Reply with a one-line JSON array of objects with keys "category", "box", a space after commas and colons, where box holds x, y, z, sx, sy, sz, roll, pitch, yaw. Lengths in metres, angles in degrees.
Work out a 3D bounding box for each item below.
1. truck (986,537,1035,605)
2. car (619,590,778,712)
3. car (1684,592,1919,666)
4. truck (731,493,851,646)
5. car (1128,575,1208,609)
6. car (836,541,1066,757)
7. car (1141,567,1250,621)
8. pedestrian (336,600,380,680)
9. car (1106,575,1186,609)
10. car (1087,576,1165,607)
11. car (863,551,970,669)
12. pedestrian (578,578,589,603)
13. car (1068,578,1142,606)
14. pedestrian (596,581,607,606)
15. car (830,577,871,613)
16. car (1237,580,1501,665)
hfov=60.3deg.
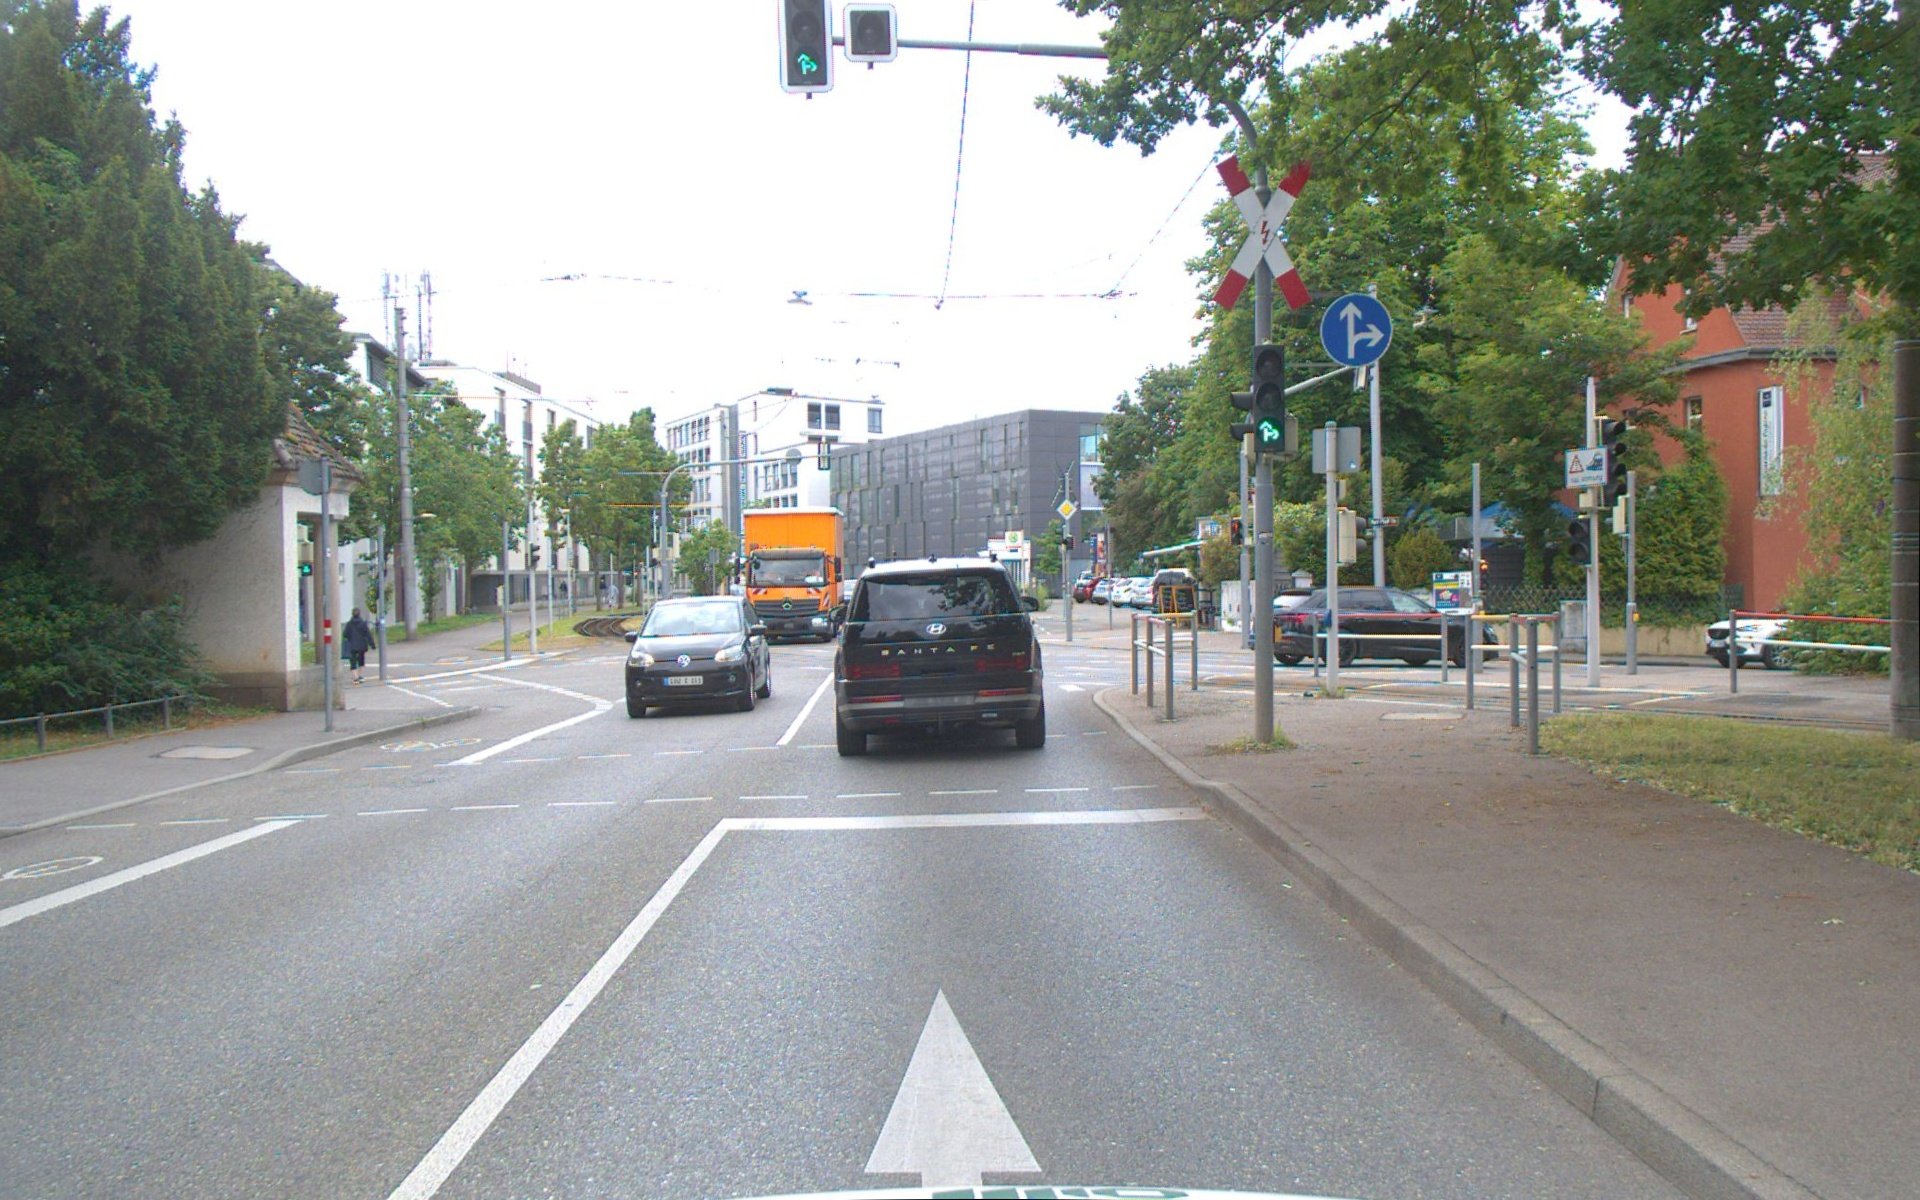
[{"category": "truck", "box": [2.773, -1.611, 92.727, 2.520, 3.586, 7.811, -1, 1, 0]}, {"category": "car", "box": [-3.430, 0.614, 22.287, 1.630, 1.474, 3.826, -1, 0, -2]}, {"category": "car", "box": [17.855, 0.591, 34.876, 4.424, 1.489, 1.994, 0, 0, -12]}, {"category": "truck", "box": [-4.626, -0.816, 46.837, 2.714, 3.783, 8.465, -3, 0, -3]}, {"category": "car", "box": [9.546, -0.371, 75.772, 3.472, 1.402, 1.530, -2, 3, -32]}, {"category": "car", "box": [-0.189, 0.382, 15.702, 1.877, 1.755, 4.168, 1, 1, -3]}, {"category": "car", "box": [8.336, -0.238, 58.262, 1.814, 1.779, 4.678, 0, 1, 36]}, {"category": "pedestrian", "box": [-13.231, 0.868, 36.377, 0.662, 1.673, 0.818, -2, 2, -7]}, {"category": "car", "box": [9.054, -0.397, 80.665, 3.598, 1.460, 1.577, -3, 0, -29]}, {"category": "car", "box": [8.699, -0.429, 86.686, 3.753, 1.499, 1.779, 1, -1, -32]}, {"category": "car", "box": [-0.904, 0.136, 31.787, 1.819, 2.069, 4.433, -1, 1, -4]}, {"category": "pedestrian", "box": [-26.366, -0.674, 115.801, 0.601, 1.724, 0.785, 0, 0, -2]}, {"category": "car", "box": [8.088, -0.443, 92.073, 3.745, 1.499, 1.783, 1, -1, -27]}, {"category": "pedestrian", "box": [-24.986, -0.440, 115.219, 0.601, 1.724, 0.785, 0, 0, -2]}, {"category": "car", "box": [-5.351, -0.254, 81.311, 1.752, 1.690, 4.276, -2, 1, -1]}, {"category": "car", "box": [7.580, 0.386, 30.728, 4.435, 1.489, 1.990, 0, 0, -18]}]
